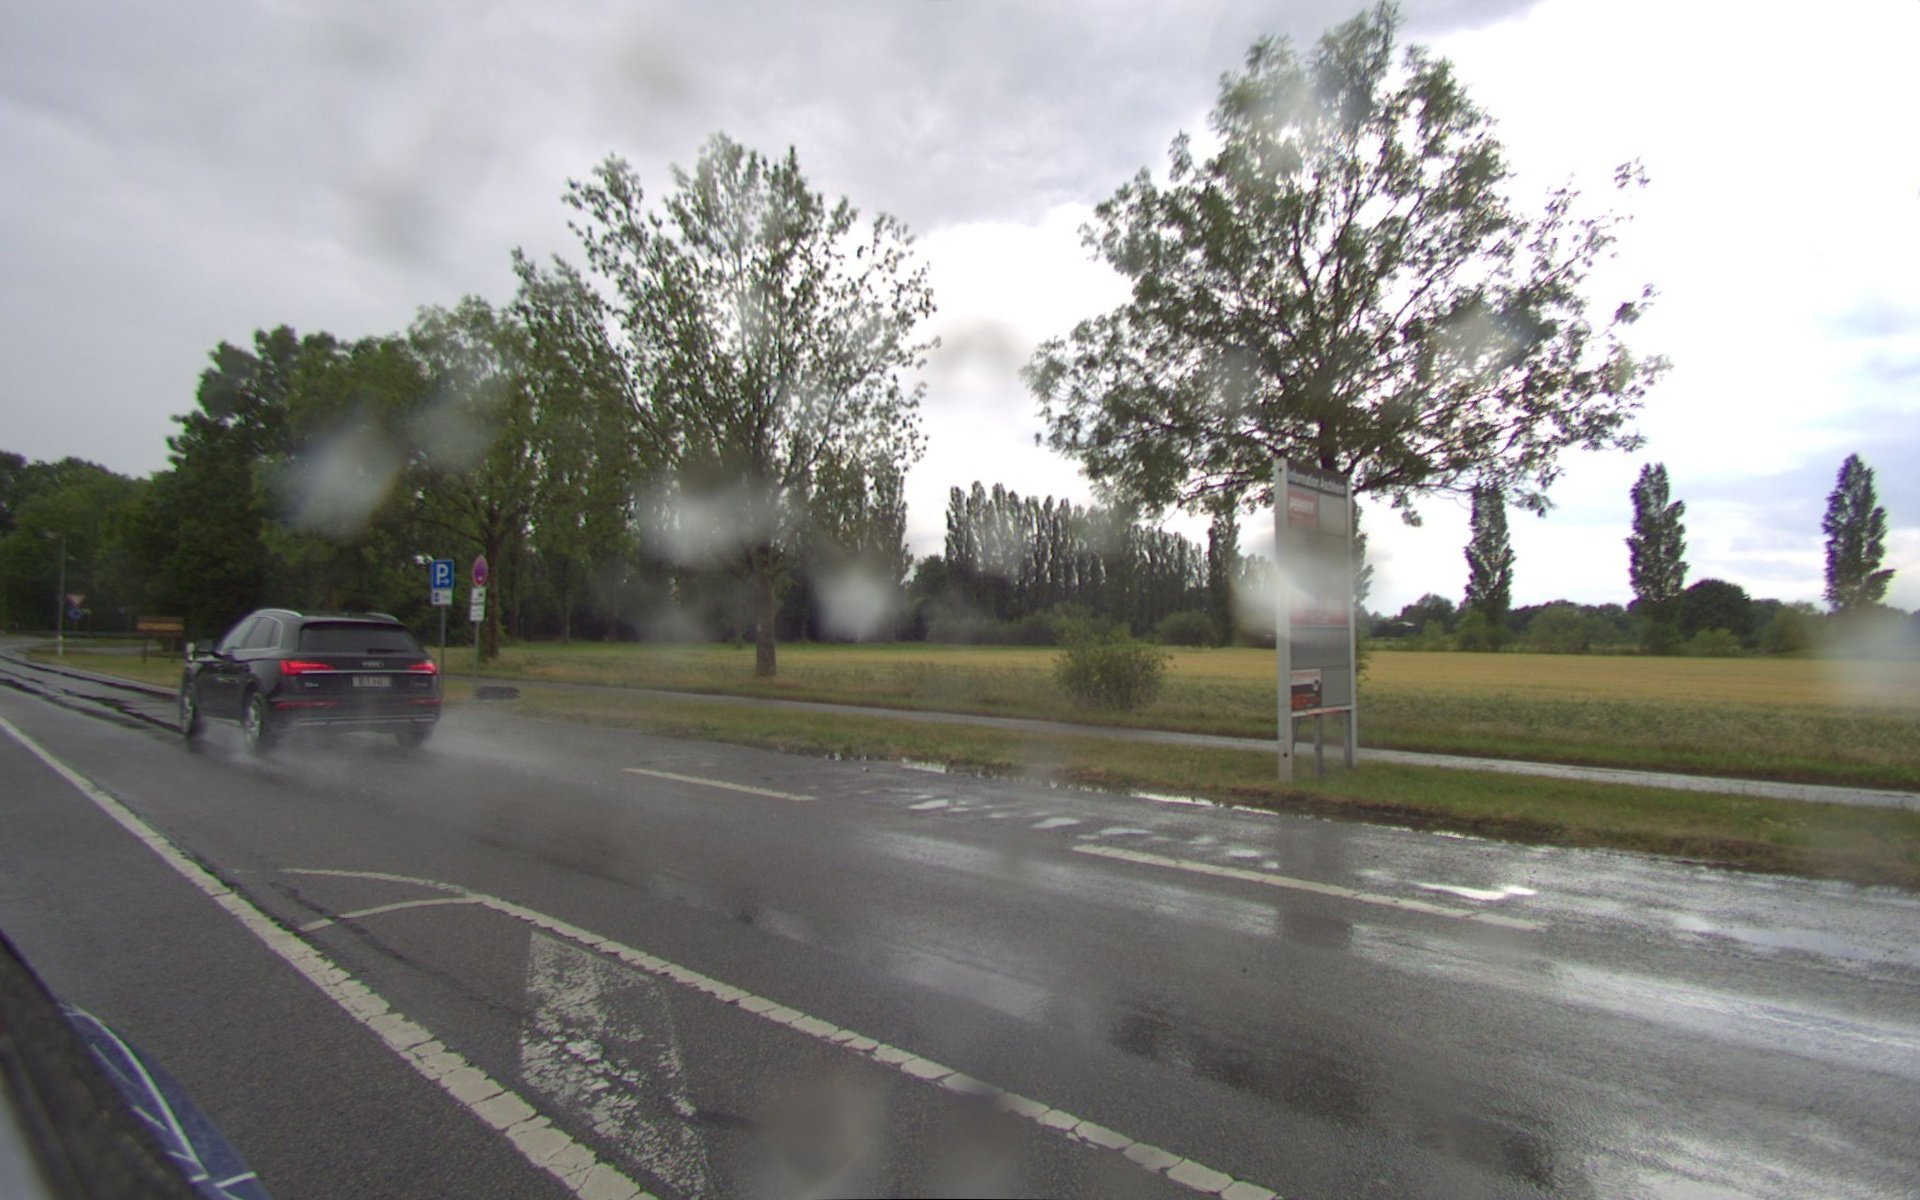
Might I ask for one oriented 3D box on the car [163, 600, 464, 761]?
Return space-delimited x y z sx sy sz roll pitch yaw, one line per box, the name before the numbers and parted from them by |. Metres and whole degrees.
car | -8.083 0.923 12.498 4.355 1.644 1.896 -1 -5 41
